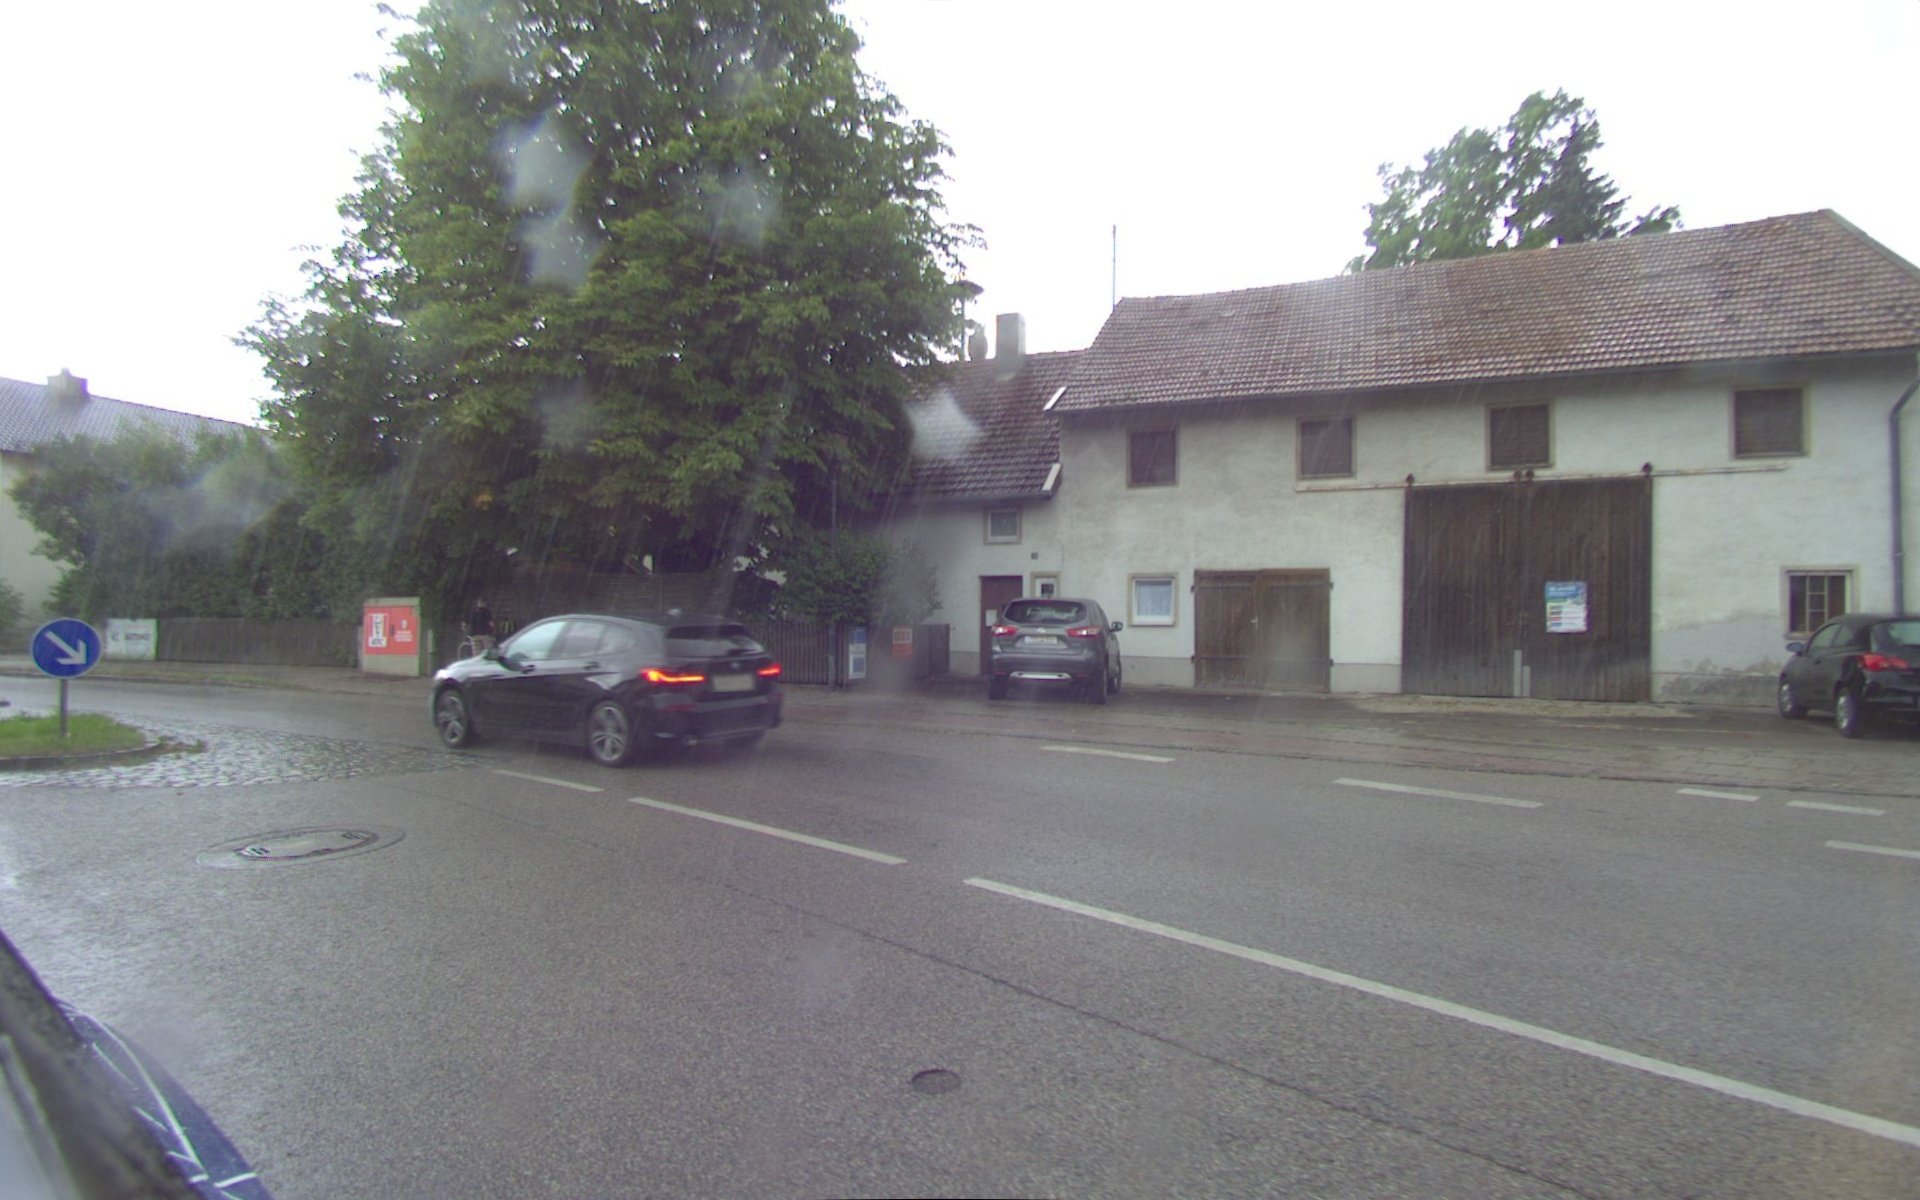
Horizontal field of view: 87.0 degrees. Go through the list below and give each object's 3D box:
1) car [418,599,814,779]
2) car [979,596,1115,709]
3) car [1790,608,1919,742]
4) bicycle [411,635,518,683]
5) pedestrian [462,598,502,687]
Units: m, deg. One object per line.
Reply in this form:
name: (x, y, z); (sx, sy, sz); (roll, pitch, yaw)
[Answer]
car: (-3.598, 0.782, 10.370); (4.049, 1.502, 1.797); (-1, -1, 34)
car: (1.537, 0.834, 16.364); (1.798, 1.560, 4.266); (0, -3, 10)
car: (11.619, 0.841, 12.559); (1.818, 1.447, 4.228); (-1, -1, 37)
bicycle: (-9.761, 1.157, 19.951); (1.853, 0.909, 0.662); (0, -1, 9)
pedestrian: (-9.035, 0.793, 19.148); (0.642, 1.640, 0.480); (0, -1, -20)
